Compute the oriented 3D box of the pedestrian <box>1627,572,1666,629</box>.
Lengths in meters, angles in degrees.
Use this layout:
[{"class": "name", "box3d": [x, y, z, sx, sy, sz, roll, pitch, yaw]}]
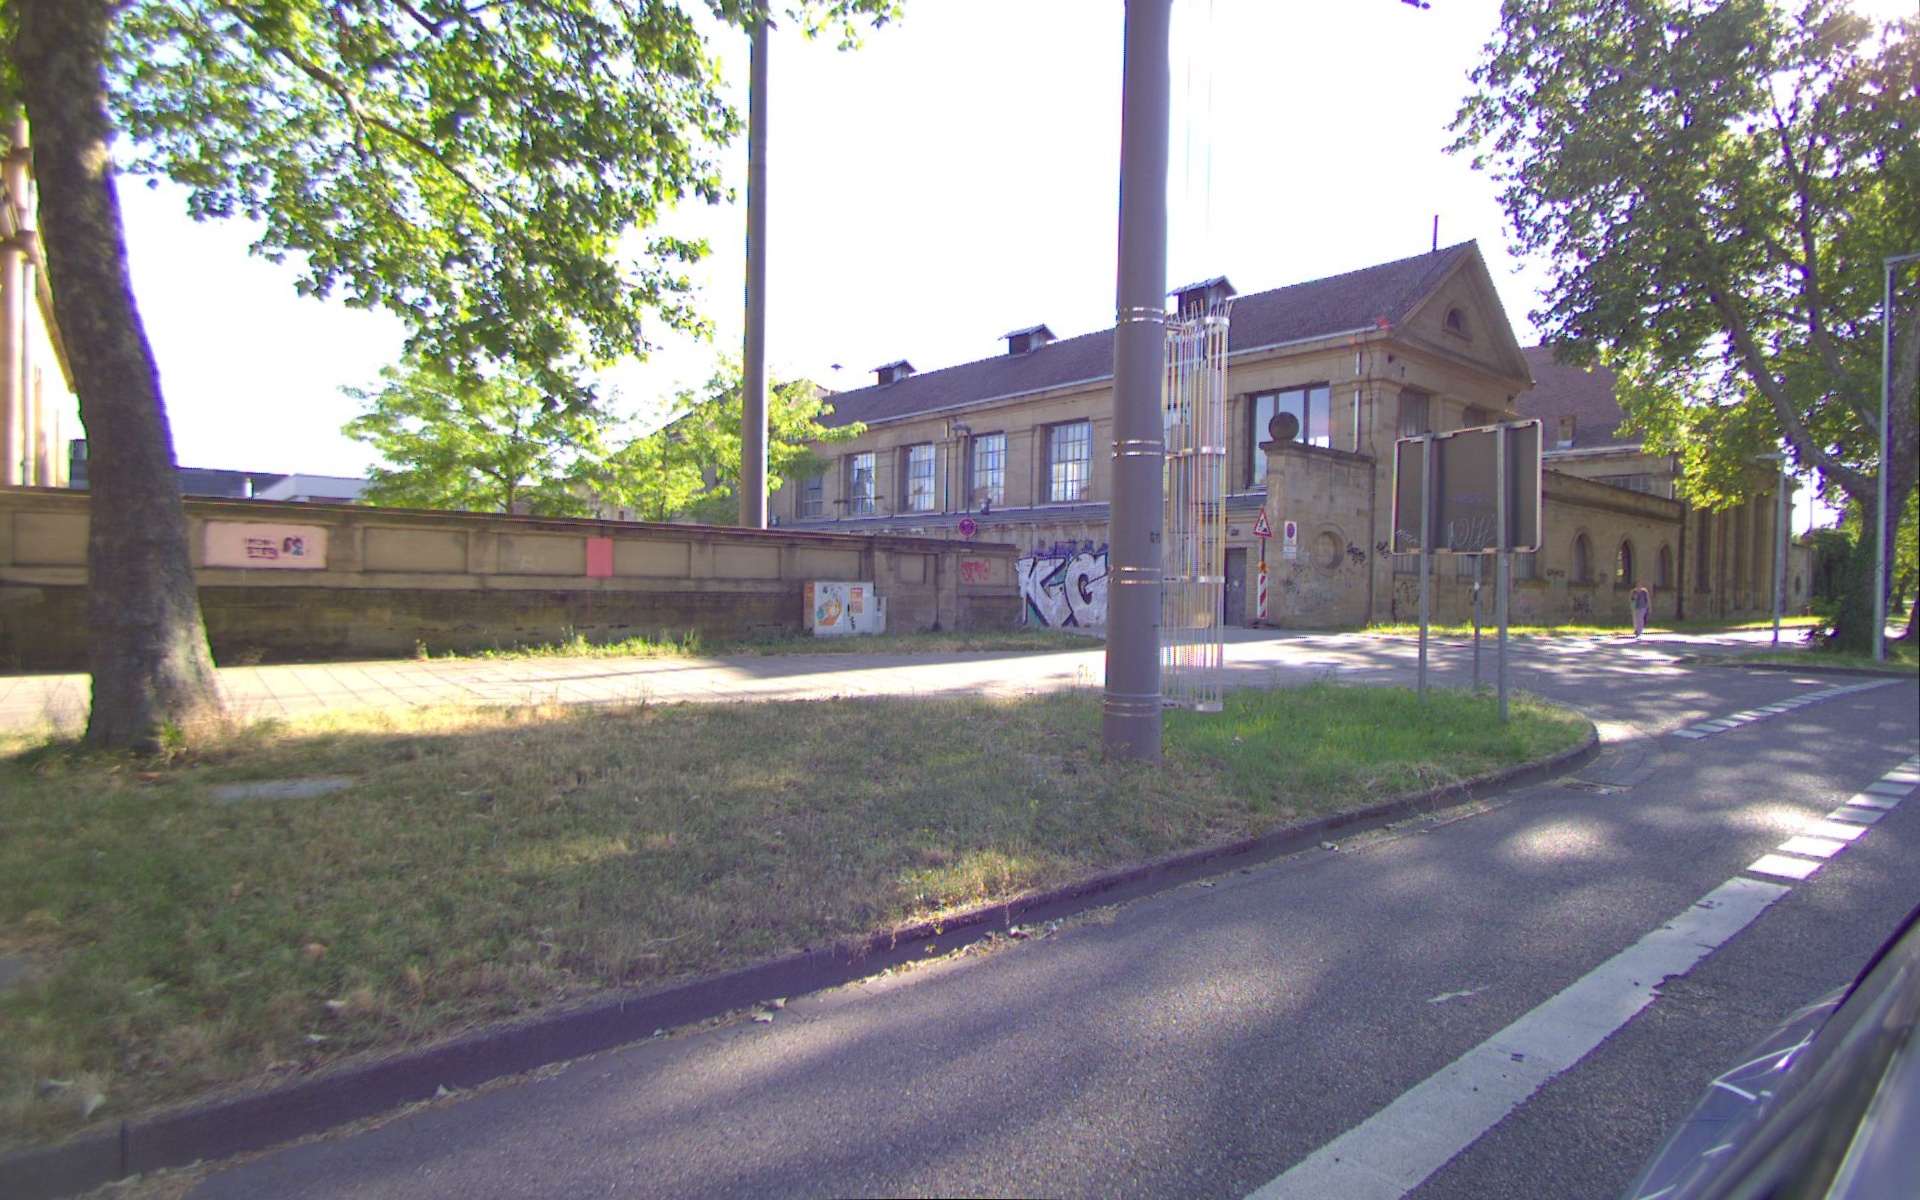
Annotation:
[{"class": "pedestrian", "box3d": [20.730, 0.008, 30.550, 0.858, 1.682, 0.672, 1, 2, -38]}]
